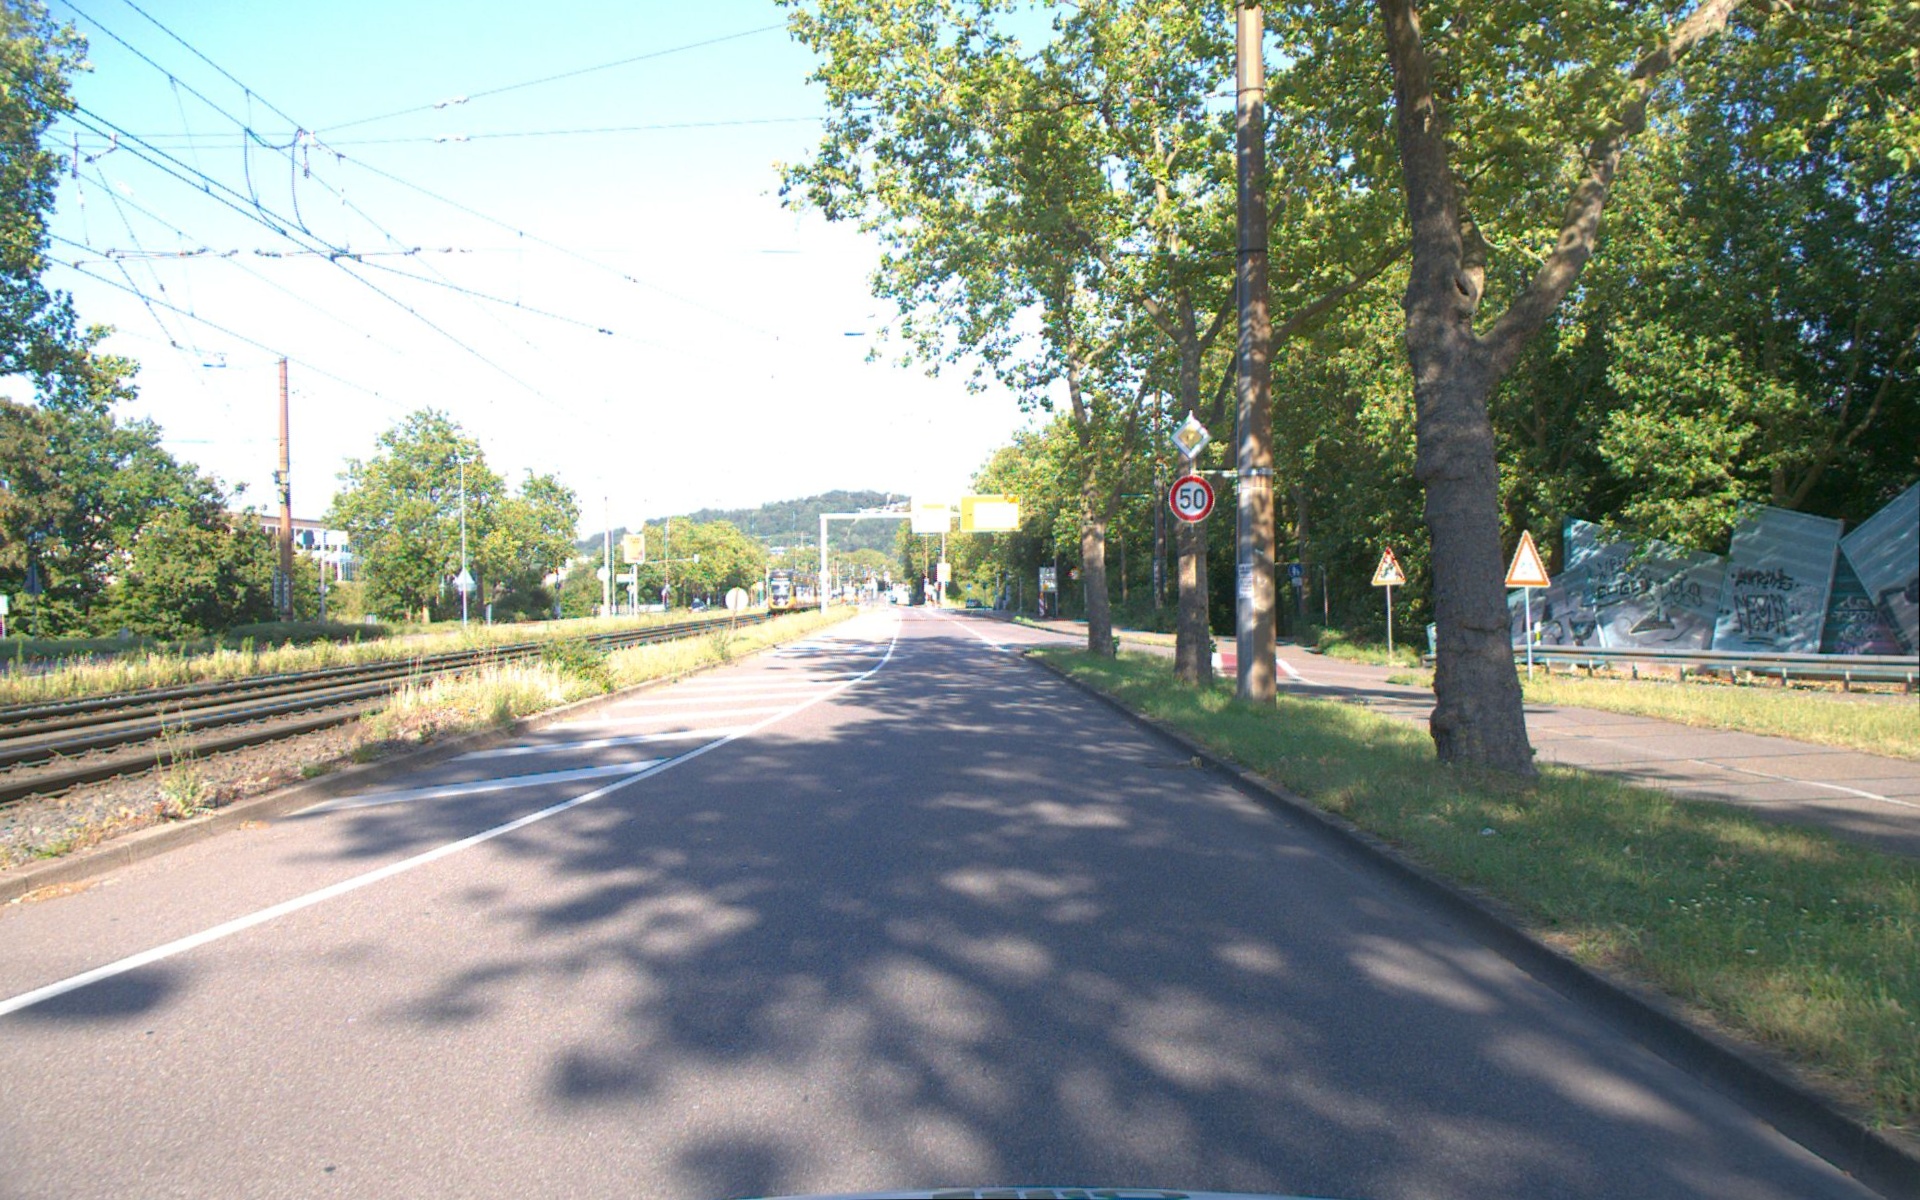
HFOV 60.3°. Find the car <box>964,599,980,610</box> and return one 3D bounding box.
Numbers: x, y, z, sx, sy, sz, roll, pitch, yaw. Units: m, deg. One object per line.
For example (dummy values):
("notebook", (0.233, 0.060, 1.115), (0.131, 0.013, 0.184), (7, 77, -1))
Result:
("car", (1.688, 0.647, 231.878), (2.042, 1.593, 3.957), (0, 0, 4))

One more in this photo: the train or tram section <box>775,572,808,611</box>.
("train or tram section", (-17.764, -0.815, 174.781), (2.748, 3.971, 11.806), (0, 0, -3))

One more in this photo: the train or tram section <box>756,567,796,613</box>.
("train or tram section", (-16.678, -0.858, 150.741), (2.748, 3.971, 12.325), (0, 0, -3))
